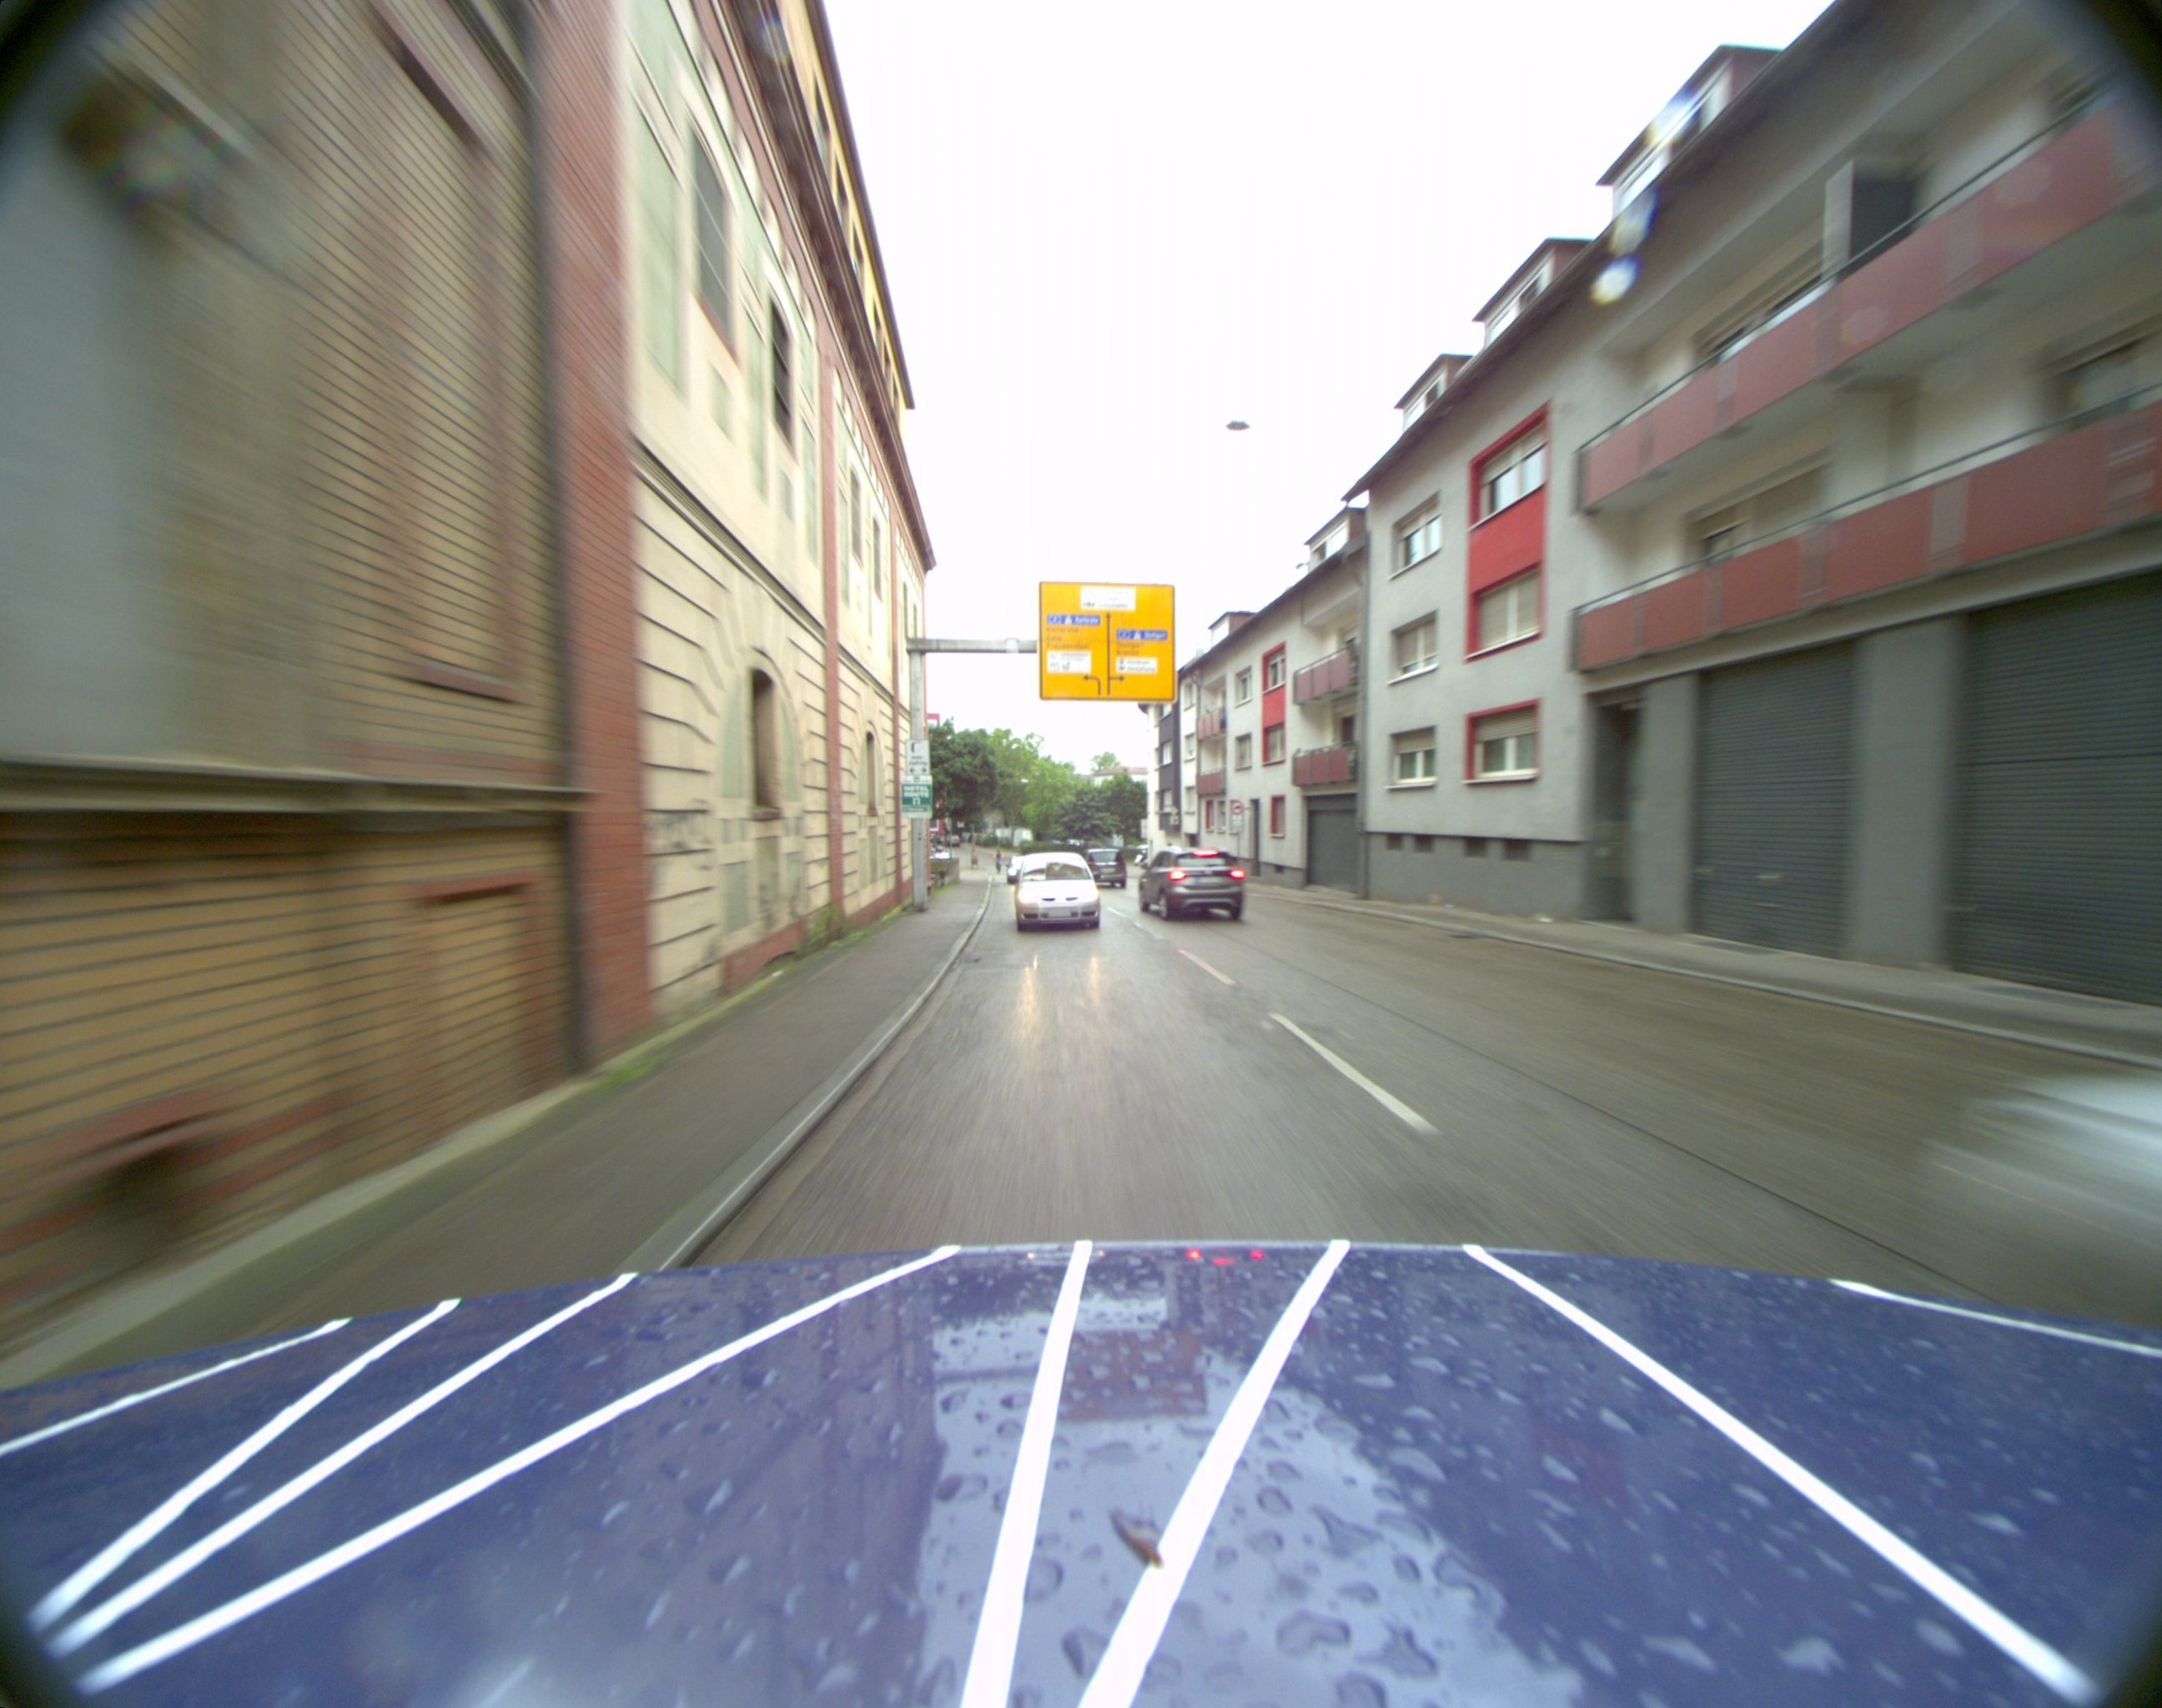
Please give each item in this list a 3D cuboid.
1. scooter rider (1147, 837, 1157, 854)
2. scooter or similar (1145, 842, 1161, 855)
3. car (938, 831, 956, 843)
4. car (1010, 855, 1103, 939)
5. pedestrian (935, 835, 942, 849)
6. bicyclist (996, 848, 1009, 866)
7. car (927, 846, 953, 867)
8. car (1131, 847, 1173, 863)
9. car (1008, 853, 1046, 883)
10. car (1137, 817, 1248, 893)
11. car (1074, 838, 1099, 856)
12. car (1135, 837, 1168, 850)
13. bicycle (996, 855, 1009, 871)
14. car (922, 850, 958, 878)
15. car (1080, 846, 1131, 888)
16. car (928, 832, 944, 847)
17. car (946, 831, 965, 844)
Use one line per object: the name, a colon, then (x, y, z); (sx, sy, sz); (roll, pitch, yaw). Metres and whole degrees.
scooter rider: (7.933, -0.974, 85.155); (0.782, 1.813, 0.802); (0, 11, -20)
scooter or similar: (8.080, -0.637, 85.257); (1.410, 1.317, 0.802); (0, 11, -20)
car: (-19.845, -2.541, 112.531); (1.911, 1.642, 3.990); (-1, 4, -20)
car: (-0.591, 0.818, 16.423); (1.687, 1.496, 3.837); (-3, 0, -4)
pedestrian: (-16.002, -1.332, 85.324); (0.704, 1.559, 0.620); (-2, 5, -18)
bicyclist: (-6.415, 0.222, 62.038); (0.888, 1.481, 0.968); (-1, 1, -1)
car: (-12.902, 0.156, 69.243); (1.934, 1.702, 4.483); (-1, 3, -16)
car: (7.471, 0.104, 79.996); (4.000, 1.501, 1.798); (-1, 1, -10)
car: (-2.916, 0.732, 40.416); (1.688, 1.418, 3.836); (-3, 0, -8)
car: (2.445, -0.013, 17.555); (1.769, 1.567, 3.762); (0, 1, -4)
car: (0.665, -0.838, 91.000); (1.639, 1.949, 4.203); (2, 2, -18)
car: (9.461, -1.421, 101.966); (4.006, 1.502, 1.795); (2, 2, -27)
bicycle: (-6.421, 0.717, 62.209); (0.888, 1.181, 2.133); (-1, 1, -1)
car: (-8.780, 0.604, 47.562); (1.858, 1.608, 4.913); (-1, 0, -7)
car: (0.998, 0.501, 32.727); (1.769, 1.648, 3.985); (0, 1, -4)
car: (-22.780, -2.272, 119.189); (1.911, 2.064, 3.990); (-1, 4, -20)
car: (-17.565, -2.272, 106.420); (1.911, 1.642, 3.990); (-1, 4, -20)
